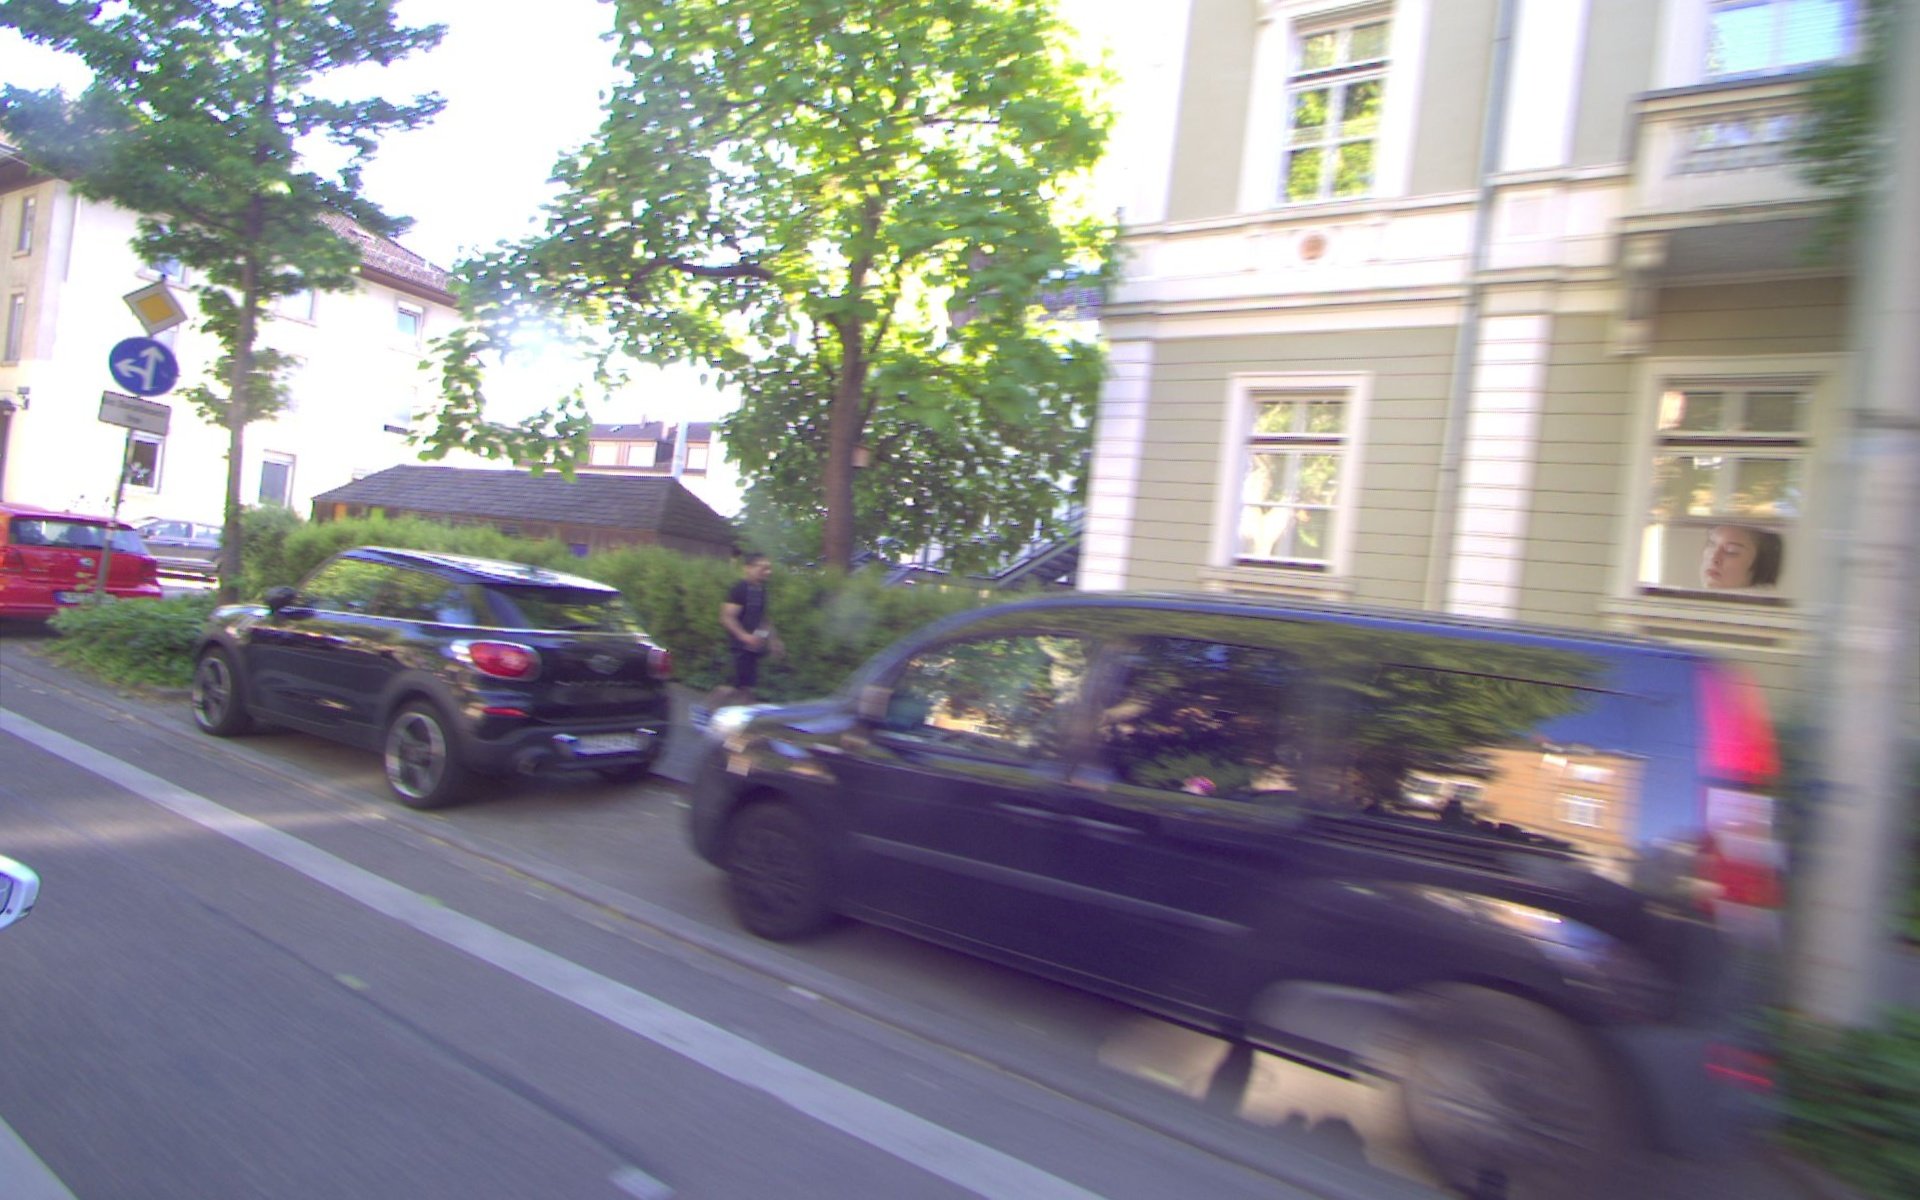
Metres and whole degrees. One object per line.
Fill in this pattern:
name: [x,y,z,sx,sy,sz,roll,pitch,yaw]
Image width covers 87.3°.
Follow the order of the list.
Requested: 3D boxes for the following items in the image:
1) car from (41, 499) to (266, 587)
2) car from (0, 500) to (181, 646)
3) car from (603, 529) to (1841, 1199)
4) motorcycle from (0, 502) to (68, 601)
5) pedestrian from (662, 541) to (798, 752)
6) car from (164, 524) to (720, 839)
car: [-21.167,-1.464,26.566,1.860,1.616,4.191,7,-1,35]
car: [-11.157,-0.412,11.922,3.912,1.442,1.704,7,1,31]
car: [0.727,0.831,4.647,4.600,1.788,1.888,7,0,32]
motorcycle: [-14.361,-0.780,14.573,2.081,1.376,0.913,5,1,-42]
pedestrian: [-2.059,0.394,9.122,0.820,1.734,0.831,7,3,3]
car: [-3.894,0.420,7.403,3.969,1.534,1.713,7,2,31]
